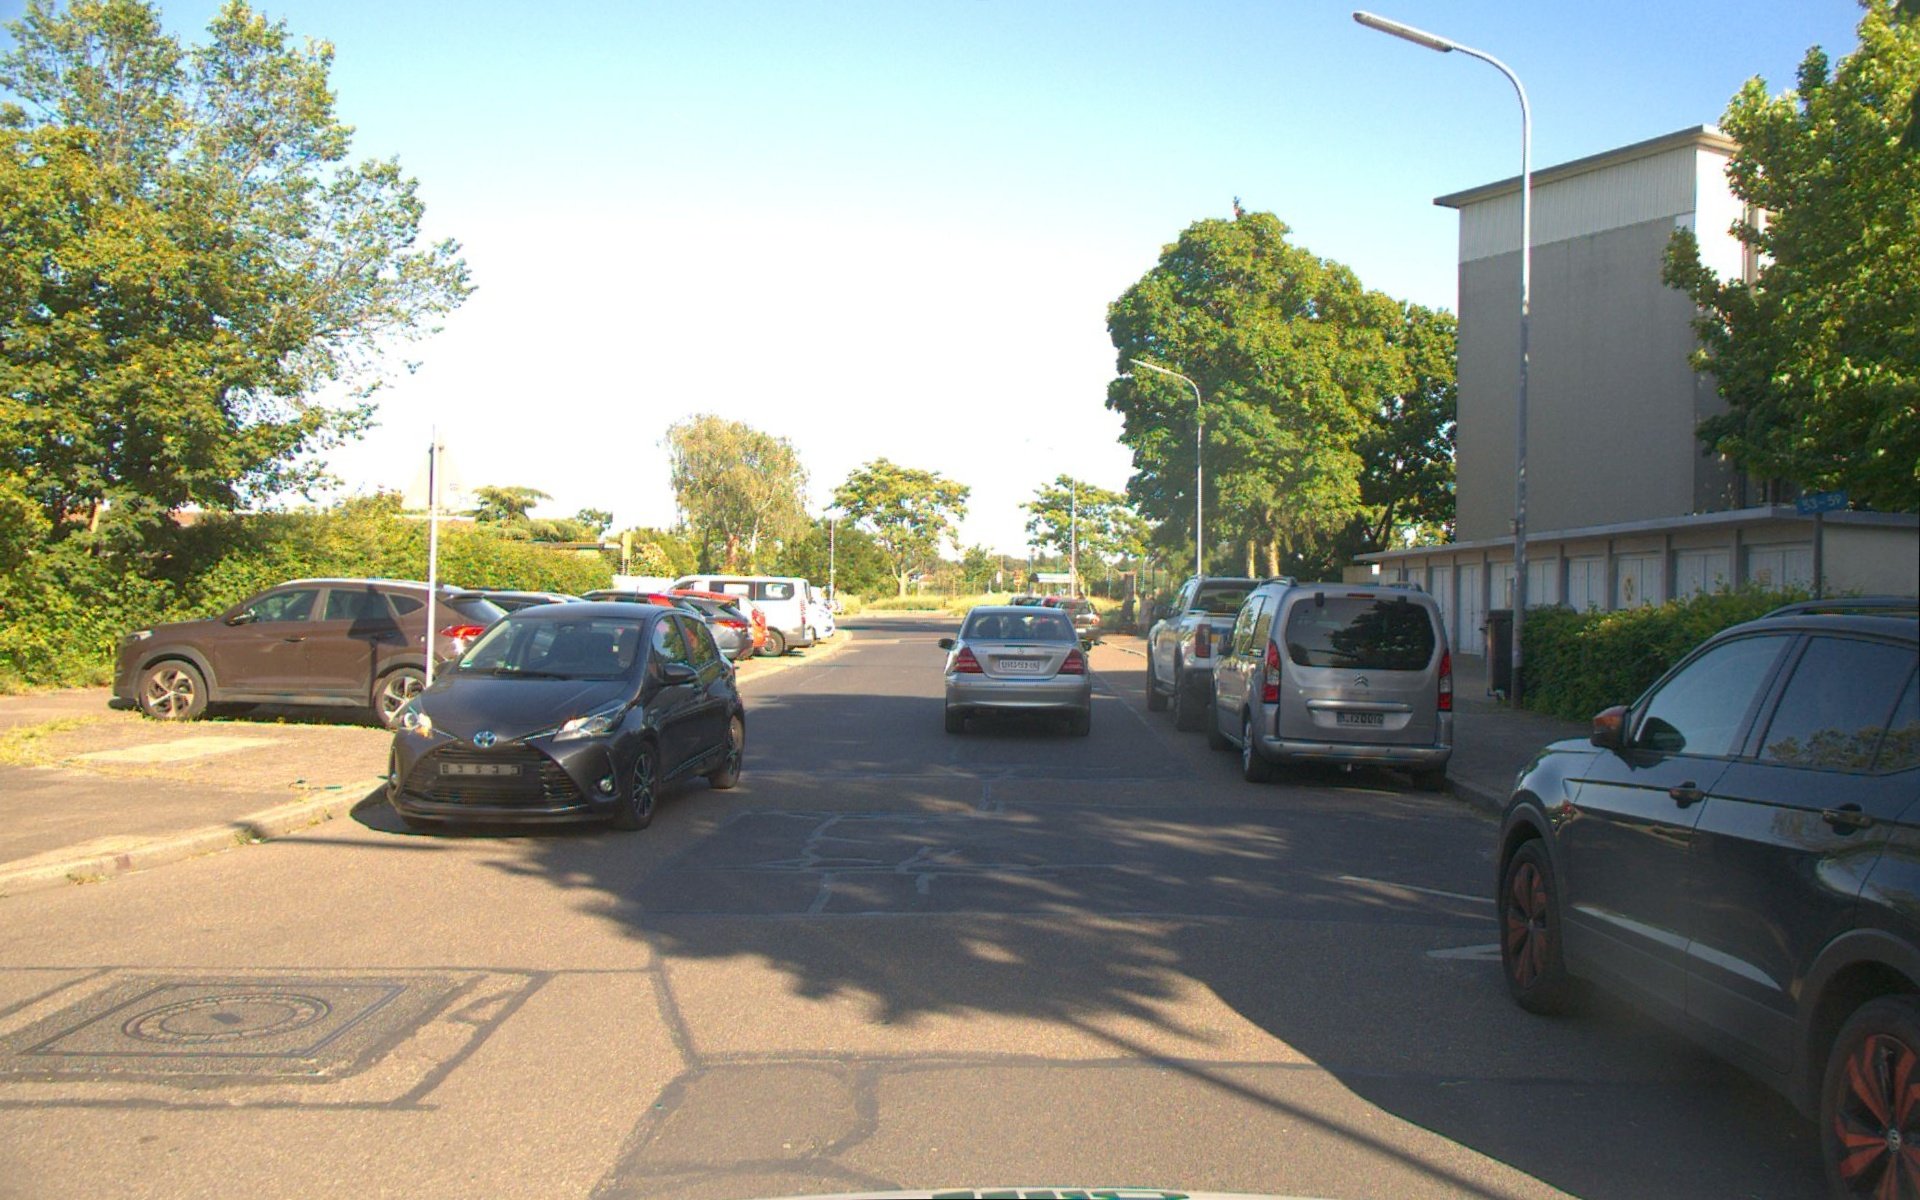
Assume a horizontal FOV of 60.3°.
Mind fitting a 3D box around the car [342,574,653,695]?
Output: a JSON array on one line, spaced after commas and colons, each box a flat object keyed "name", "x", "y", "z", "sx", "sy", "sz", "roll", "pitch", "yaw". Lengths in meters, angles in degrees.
[{"name": "car", "x": -6.736, "y": 0.495, "z": 24.409, "sx": 4.009, "sy": 1.539, "sz": 1.812, "roll": 3, "pitch": -1, "yaw": -1}]

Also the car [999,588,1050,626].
[{"name": "car", "x": 2.806, "y": 0.316, "z": 72.596, "sx": 1.697, "sy": 1.570, "sz": 3.784, "roll": 1, "pitch": 0, "yaw": -5}]

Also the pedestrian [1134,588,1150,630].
[{"name": "pedestrian", "x": 6.971, "y": 0.331, "z": 63.270, "sx": 0.476, "sy": 1.592, "sz": 0.468, "roll": -1, "pitch": -1, "yaw": -7}]

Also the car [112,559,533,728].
[{"name": "car", "x": -7.304, "y": 0.491, "z": 19.271, "sx": 4.102, "sy": 1.685, "sz": 1.846, "roll": 3, "pitch": -1, "yaw": -1}]

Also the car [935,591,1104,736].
[{"name": "car", "x": 0.656, "y": 0.675, "z": 20.009, "sx": 1.779, "sy": 1.489, "sz": 4.361, "roll": 2, "pitch": 0, "yaw": 0}]

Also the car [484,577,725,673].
[{"name": "car", "x": -6.374, "y": 0.426, "z": 29.964, "sx": 3.905, "sy": 1.505, "sz": 1.791, "roll": 3, "pitch": 1, "yaw": 1}]

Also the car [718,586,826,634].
[{"name": "car", "x": -6.417, "y": 0.356, "z": 56.695, "sx": 3.442, "sy": 1.471, "sz": 1.636, "roll": 3, "pitch": -1, "yaw": -1}]

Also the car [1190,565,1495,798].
[{"name": "car", "x": 3.436, "y": 0.625, "z": 15.780, "sx": 1.796, "sy": 1.822, "sz": 4.555, "roll": 3, "pitch": 1, "yaw": 0}]

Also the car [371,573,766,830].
[{"name": "car", "x": -2.677, "y": 0.651, "z": 12.270, "sx": 1.614, "sy": 1.583, "sz": 4.004, "roll": -1, "pitch": -1, "yaw": 6}]

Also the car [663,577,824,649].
[{"name": "car", "x": -5.851, "y": 0.355, "z": 45.036, "sx": 4.066, "sy": 1.735, "sz": 1.884, "roll": 3, "pitch": -1, "yaw": 0}]

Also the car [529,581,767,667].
[{"name": "car", "x": -6.336, "y": 0.467, "z": 33.910, "sx": 4.450, "sy": 1.505, "sz": 1.748, "roll": 3, "pitch": 1, "yaw": 1}]

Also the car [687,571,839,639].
[{"name": "car", "x": -6.382, "y": 0.181, "z": 54.080, "sx": 4.693, "sy": 1.954, "sz": 2.080, "roll": 3, "pitch": -1, "yaw": -3}]

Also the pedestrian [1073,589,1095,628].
[{"name": "pedestrian", "x": 5.210, "y": 0.370, "z": 69.577, "sx": 0.772, "sy": 1.592, "sz": 0.569, "roll": 3, "pitch": -1, "yaw": -4}]

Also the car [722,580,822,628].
[{"name": "car", "x": -7.588, "y": 0.155, "z": 66.862, "sx": 3.901, "sy": 1.811, "sz": 1.923, "roll": 2, "pitch": 0, "yaw": -7}]

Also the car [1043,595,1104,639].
[{"name": "car", "x": 3.755, "y": 0.554, "z": 55.224, "sx": 1.614, "sy": 1.427, "sz": 3.880, "roll": 0, "pitch": 0, "yaw": -2}]

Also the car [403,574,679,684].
[{"name": "car", "x": -6.709, "y": 0.455, "z": 26.817, "sx": 3.937, "sy": 1.539, "sz": 1.905, "roll": 3, "pitch": -1, "yaw": -1}]

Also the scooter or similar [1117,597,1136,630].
[{"name": "scooter or similar", "x": 6.377, "y": 0.514, "z": 63.329, "sx": 0.610, "sy": 1.249, "sz": 0.904, "roll": 0, "pitch": -1, "yaw": -4}]

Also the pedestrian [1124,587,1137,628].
[{"name": "pedestrian", "x": 6.653, "y": 0.298, "z": 64.476, "sx": 0.471, "sy": 1.592, "sz": 0.597, "roll": -1, "pitch": -1, "yaw": 7}]

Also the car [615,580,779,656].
[{"name": "car", "x": -6.209, "y": 0.406, "z": 39.359, "sx": 3.528, "sy": 1.594, "sz": 1.852, "roll": 3, "pitch": 1, "yaw": 1}]

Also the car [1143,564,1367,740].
[{"name": "car", "x": 3.567, "y": 0.540, "z": 20.996, "sx": 1.867, "sy": 1.872, "sz": 5.275, "roll": 3, "pitch": 1, "yaw": 0}]

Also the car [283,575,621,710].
[{"name": "car", "x": -6.719, "y": 0.558, "z": 22.207, "sx": 3.906, "sy": 1.559, "sz": 1.831, "roll": 3, "pitch": -1, "yaw": -1}]

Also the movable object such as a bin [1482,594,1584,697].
[{"name": "movable object such as a bin", "x": 7.959, "y": 0.626, "z": 23.016, "sx": 1.223, "sy": 1.371, "sz": 1.053, "roll": 1, "pitch": -1, "yaw": 12}]

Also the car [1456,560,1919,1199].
[{"name": "car", "x": 3.041, "y": 0.757, "z": 5.147, "sx": 1.767, "sy": 1.621, "sz": 4.023, "roll": 3, "pitch": 0, "yaw": 1}]

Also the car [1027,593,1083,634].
[{"name": "car", "x": 3.594, "y": 0.497, "z": 62.952, "sx": 1.545, "sy": 1.472, "sz": 3.784, "roll": 1, "pitch": 0, "yaw": -5}]

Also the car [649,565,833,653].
[{"name": "car", "x": -5.572, "y": 0.233, "z": 42.525, "sx": 4.387, "sy": 2.011, "sz": 2.000, "roll": 3, "pitch": -1, "yaw": 0}]

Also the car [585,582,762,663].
[{"name": "car", "x": -6.343, "y": 0.469, "z": 36.912, "sx": 3.528, "sy": 1.594, "sz": 1.881, "roll": 3, "pitch": 1, "yaw": 1}]
